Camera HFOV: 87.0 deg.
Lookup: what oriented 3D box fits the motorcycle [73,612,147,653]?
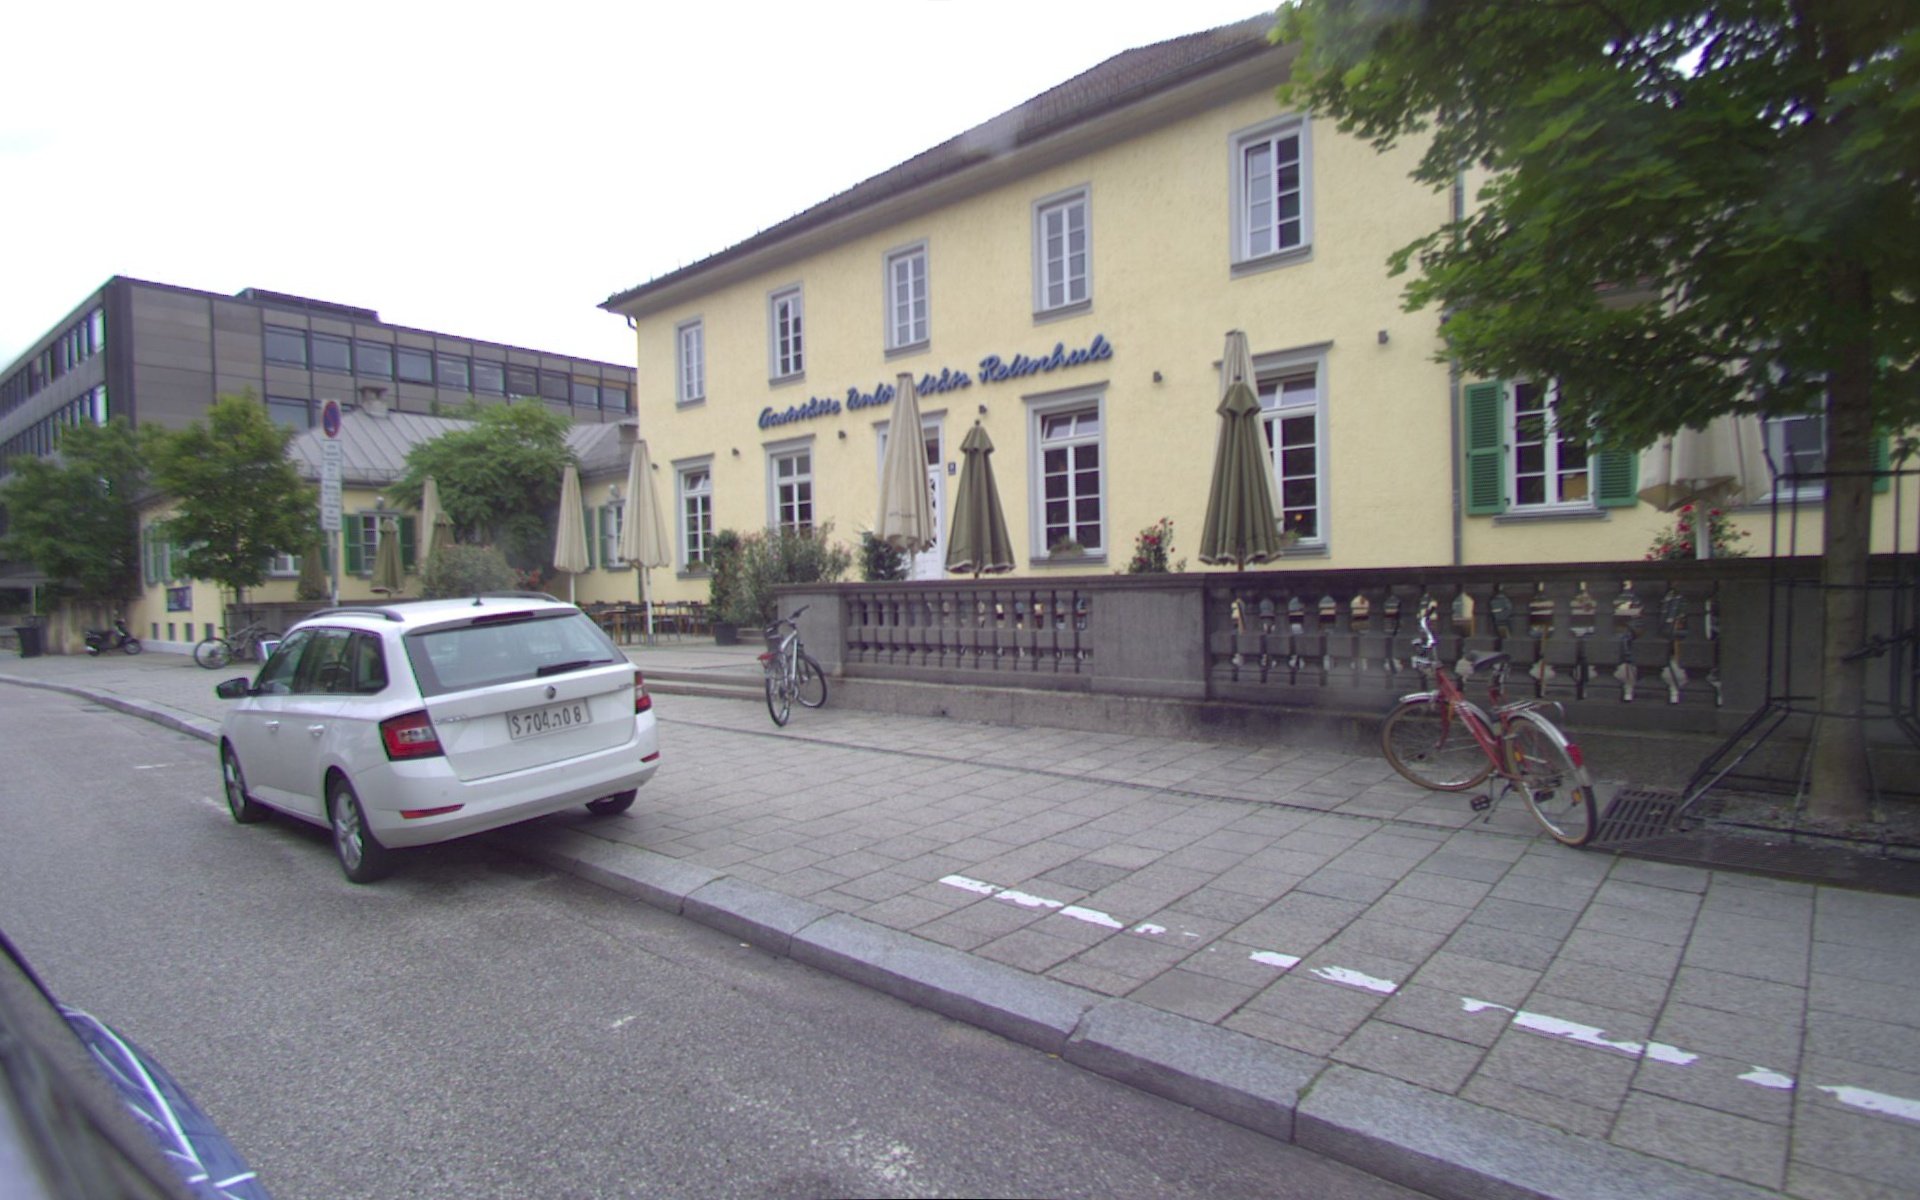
[{"bbox_3d":[-26.627,1.019,31.707,1.642,1.120,0.591,-4,4,-7],"label":"motorcycle"}]

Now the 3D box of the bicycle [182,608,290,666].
[{"bbox_3d":[-16.201,0.819,22.689,0.466,1.041,1.824,-2,5,41],"label":"bicycle"}]

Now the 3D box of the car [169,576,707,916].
[{"bbox_3d":[-3.722,0.682,6.778,4.461,1.503,1.706,-1,2,42],"label":"car"}]

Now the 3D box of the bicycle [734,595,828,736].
[{"bbox_3d":[-1.743,0.594,10.056,0.563,1.271,1.567,-2,0,2],"label":"bicycle"}]

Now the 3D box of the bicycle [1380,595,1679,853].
[{"bbox_3d":[2.814,0.539,5.218,0.629,1.096,1.633,-2,0,2],"label":"bicycle"}]

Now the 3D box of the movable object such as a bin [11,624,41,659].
[{"bbox_3d":[-31.247,1.377,33.856,0.459,1.117,0.607,-1,2,38],"label":"movable object such as a bin"}]

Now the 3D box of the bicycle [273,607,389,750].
[{"bbox_3d":[-6.763,0.780,10.850,0.770,1.379,1.698,-3,1,-40],"label":"bicycle"}]
